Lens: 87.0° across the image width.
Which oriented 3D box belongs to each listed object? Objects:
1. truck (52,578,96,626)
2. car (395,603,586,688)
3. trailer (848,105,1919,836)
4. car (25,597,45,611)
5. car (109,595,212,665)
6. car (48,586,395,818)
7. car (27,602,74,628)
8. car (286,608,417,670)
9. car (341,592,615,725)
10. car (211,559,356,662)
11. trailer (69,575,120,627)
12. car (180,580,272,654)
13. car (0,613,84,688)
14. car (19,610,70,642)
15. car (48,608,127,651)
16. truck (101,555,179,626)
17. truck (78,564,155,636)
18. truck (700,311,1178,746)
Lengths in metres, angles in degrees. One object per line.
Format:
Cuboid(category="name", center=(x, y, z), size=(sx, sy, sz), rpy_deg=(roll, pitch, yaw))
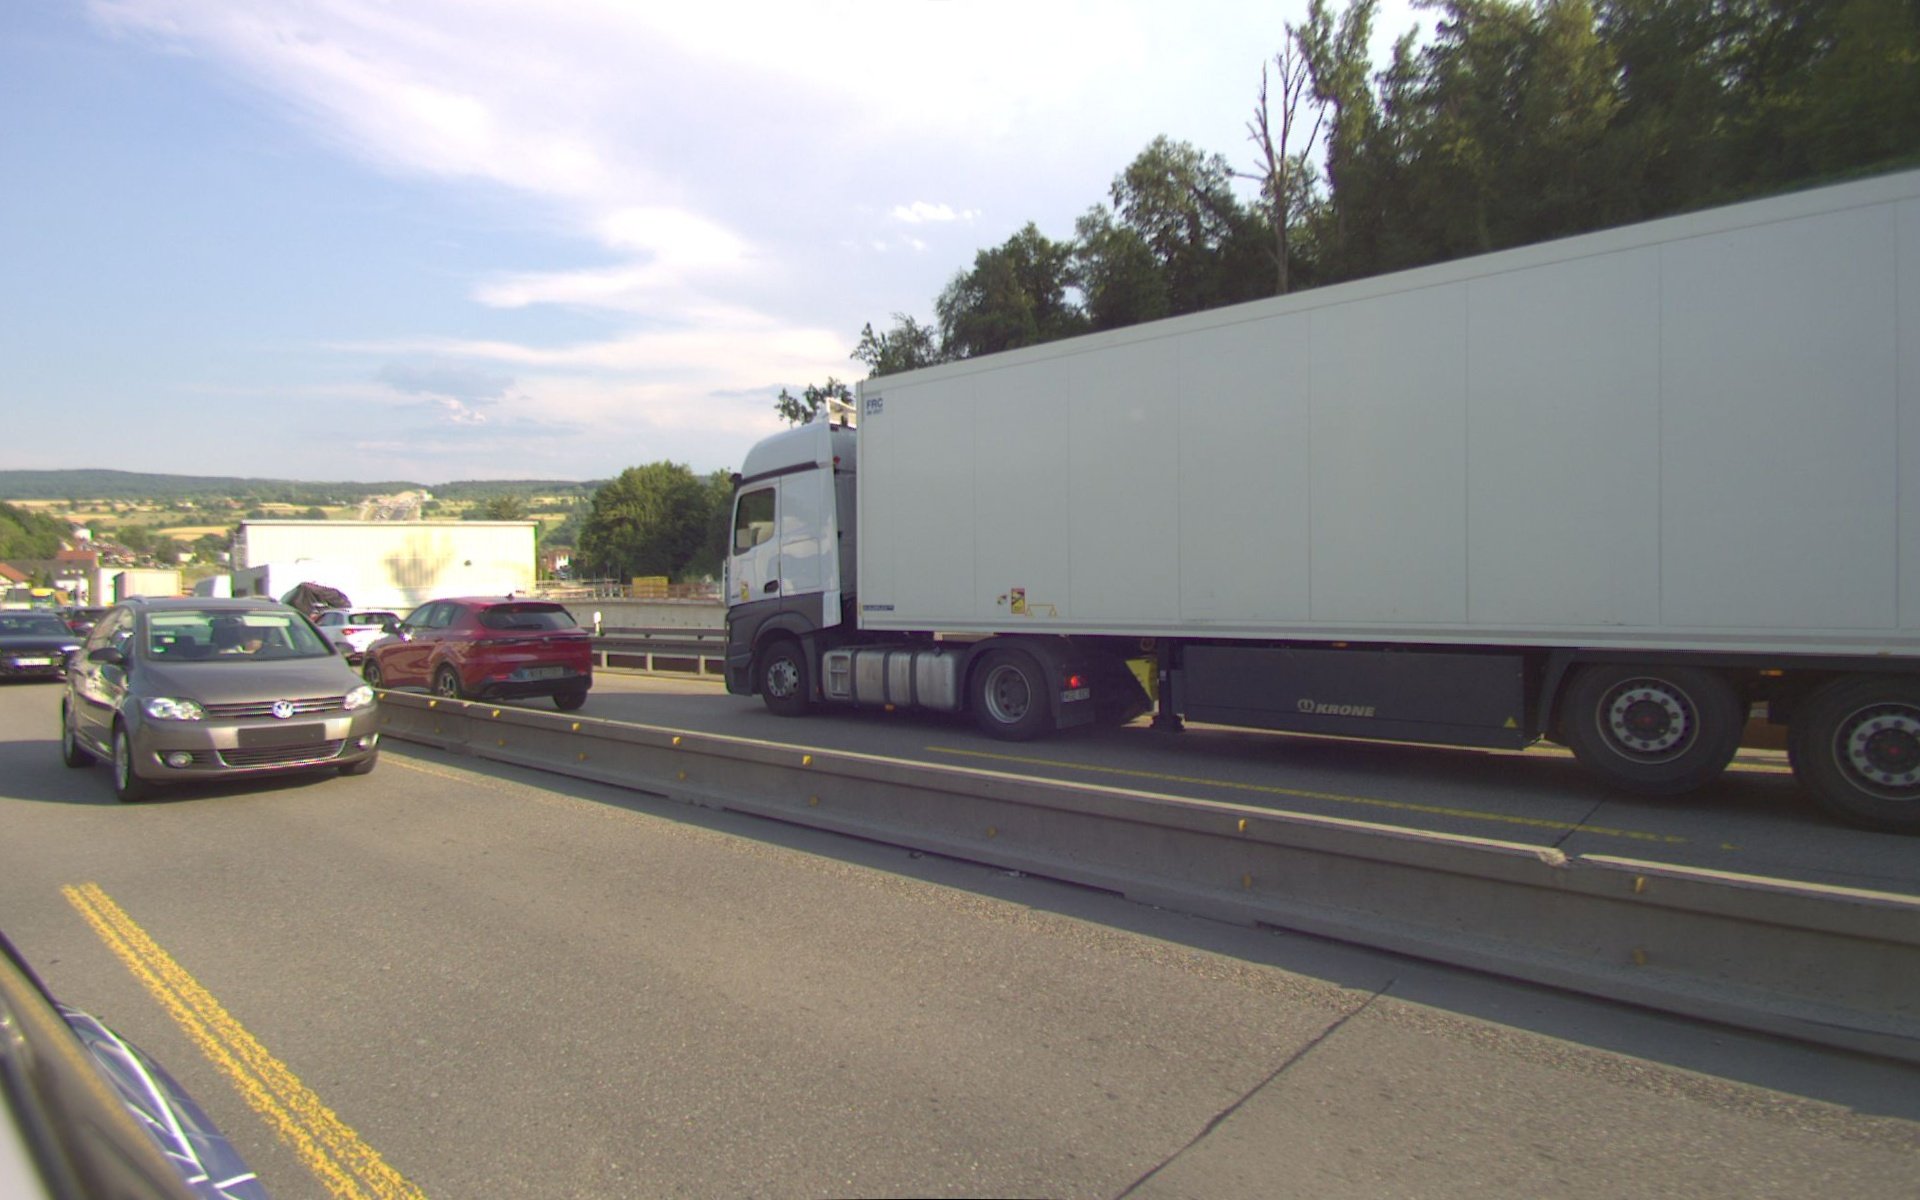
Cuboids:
Cuboid(category="truck", center=(-78.292, 0.171, 89.352), size=(2.809, 4.066, 6.108), rpy_deg=(0, 0, -42))
Cuboid(category="car", center=(-9.339, 0.842, 19.939), size=(4.712, 1.471, 1.725), rpy_deg=(-1, -1, 42))
Cuboid(category="trailer", center=(4.808, -0.740, 8.313), size=(13.738, 4.250, 2.693), rpy_deg=(-1, 0, 40))
Cuboid(category="car", center=(-142.845, 0.681, 156.262), size=(4.755, 2.015, 1.797), rpy_deg=(-2, -3, 43))
Cuboid(category="car", center=(-22.875, 0.859, 28.879), size=(1.783, 1.785, 5.457), rpy_deg=(-1, -1, -44))
Cuboid(category="car", center=(-6.645, 0.702, 8.927), size=(4.098, 1.585, 1.666), rpy_deg=(-1, 0, 42))
Cuboid(category="car", center=(-57.184, 0.964, 63.605), size=(2.034, 1.498, 4.730), rpy_deg=(3, -4, -44))
Cuboid(category="car", center=(-16.013, 0.955, 26.526), size=(4.610, 1.433, 1.730), rpy_deg=(0, 1, 43))
Cuboid(category="car", center=(-6.957, 0.754, 14.388), size=(4.452, 1.580, 1.868), rpy_deg=(-2, 0, 41))
Cuboid(category="car", center=(-21.844, 0.323, 32.480), size=(7.635, 2.940, 2.308), rpy_deg=(0, -1, 44))
Cuboid(category="trailer", center=(-73.012, 0.128, 85.238), size=(2.823, 4.066, 13.987), rpy_deg=(0, 0, -42))
Cuboid(category="car", center=(-28.152, 0.623, 38.719), size=(5.751, 2.640, 1.934), rpy_deg=(0, -1, 45))
Cuboid(category="car", center=(-19.653, 0.990, 21.074), size=(4.002, 1.409, 1.841), rpy_deg=(0, -1, 45))
Cuboid(category="car", center=(-46.620, 1.333, 51.520), size=(1.761, 1.533, 4.003), rpy_deg=(-3, 0, -44))
Cuboid(category="car", center=(-33.850, 1.171, 39.213), size=(4.755, 1.591, 1.797), rpy_deg=(-2, -3, 43))
Cuboid(category="truck", center=(-43.518, -0.430, 53.618), size=(2.419, 3.489, 7.621), rpy_deg=(0, 0, -45))
Cuboid(category="truck", center=(-53.723, 0.043, 64.256), size=(2.676, 4.119, 14.163), rpy_deg=(1, -1, -44))
Cuboid(category="truck", center=(-0.451, -0.685, 12.776), size=(5.678, 4.250, 2.685), rpy_deg=(-1, 0, 40))
